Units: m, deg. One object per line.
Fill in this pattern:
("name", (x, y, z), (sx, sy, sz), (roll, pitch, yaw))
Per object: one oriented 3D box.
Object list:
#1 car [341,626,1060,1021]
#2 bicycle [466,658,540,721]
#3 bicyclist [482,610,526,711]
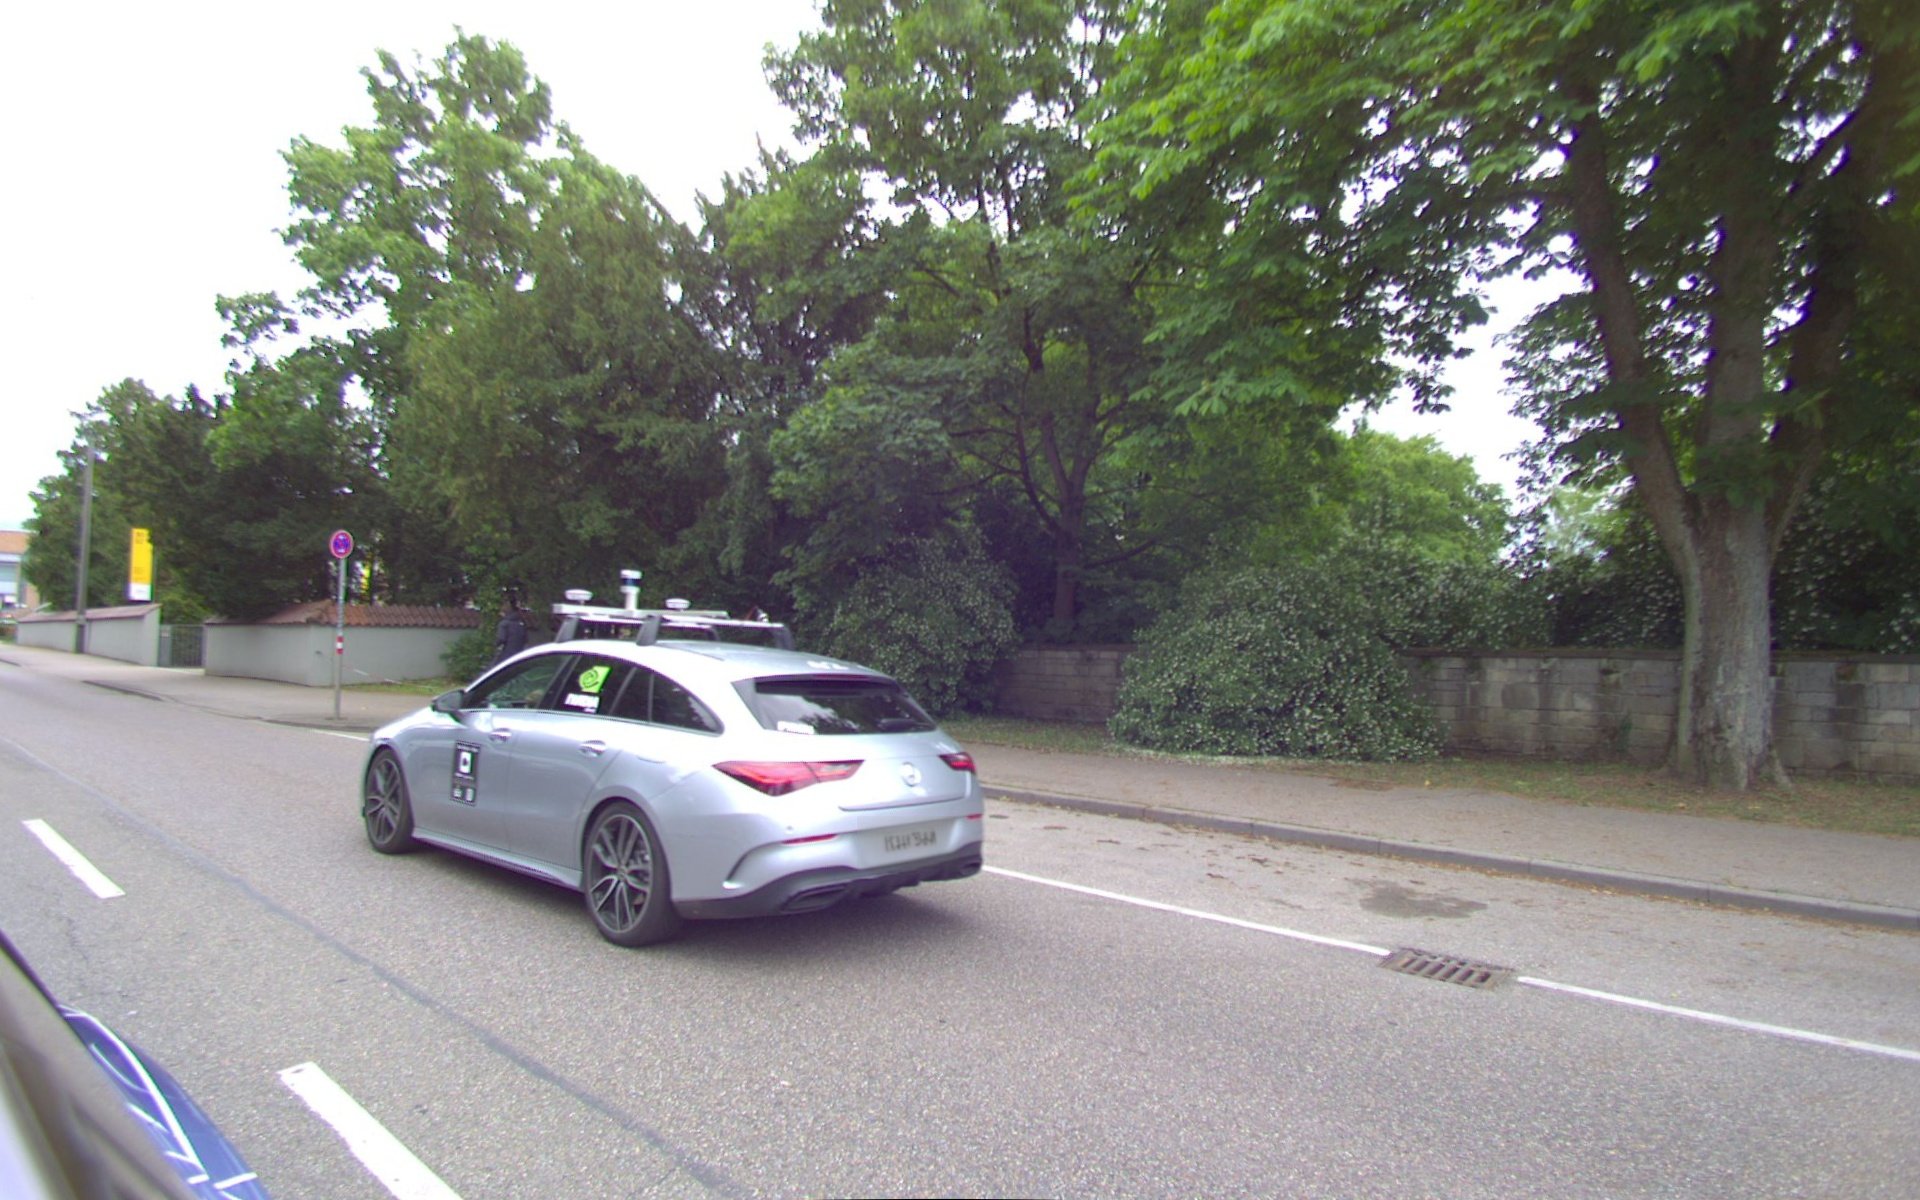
("car", (-1.754, 0.926, 5.858), (4.411, 1.413, 1.738), (-1, -5, 40))
("bicycle", (-7.950, 1.535, 17.575), (1.747, 0.971, 0.490), (-1, 0, 41))
("bicyclist", (-7.893, 1.029, 17.515), (0.588, 1.697, 0.482), (-1, 0, 41))
